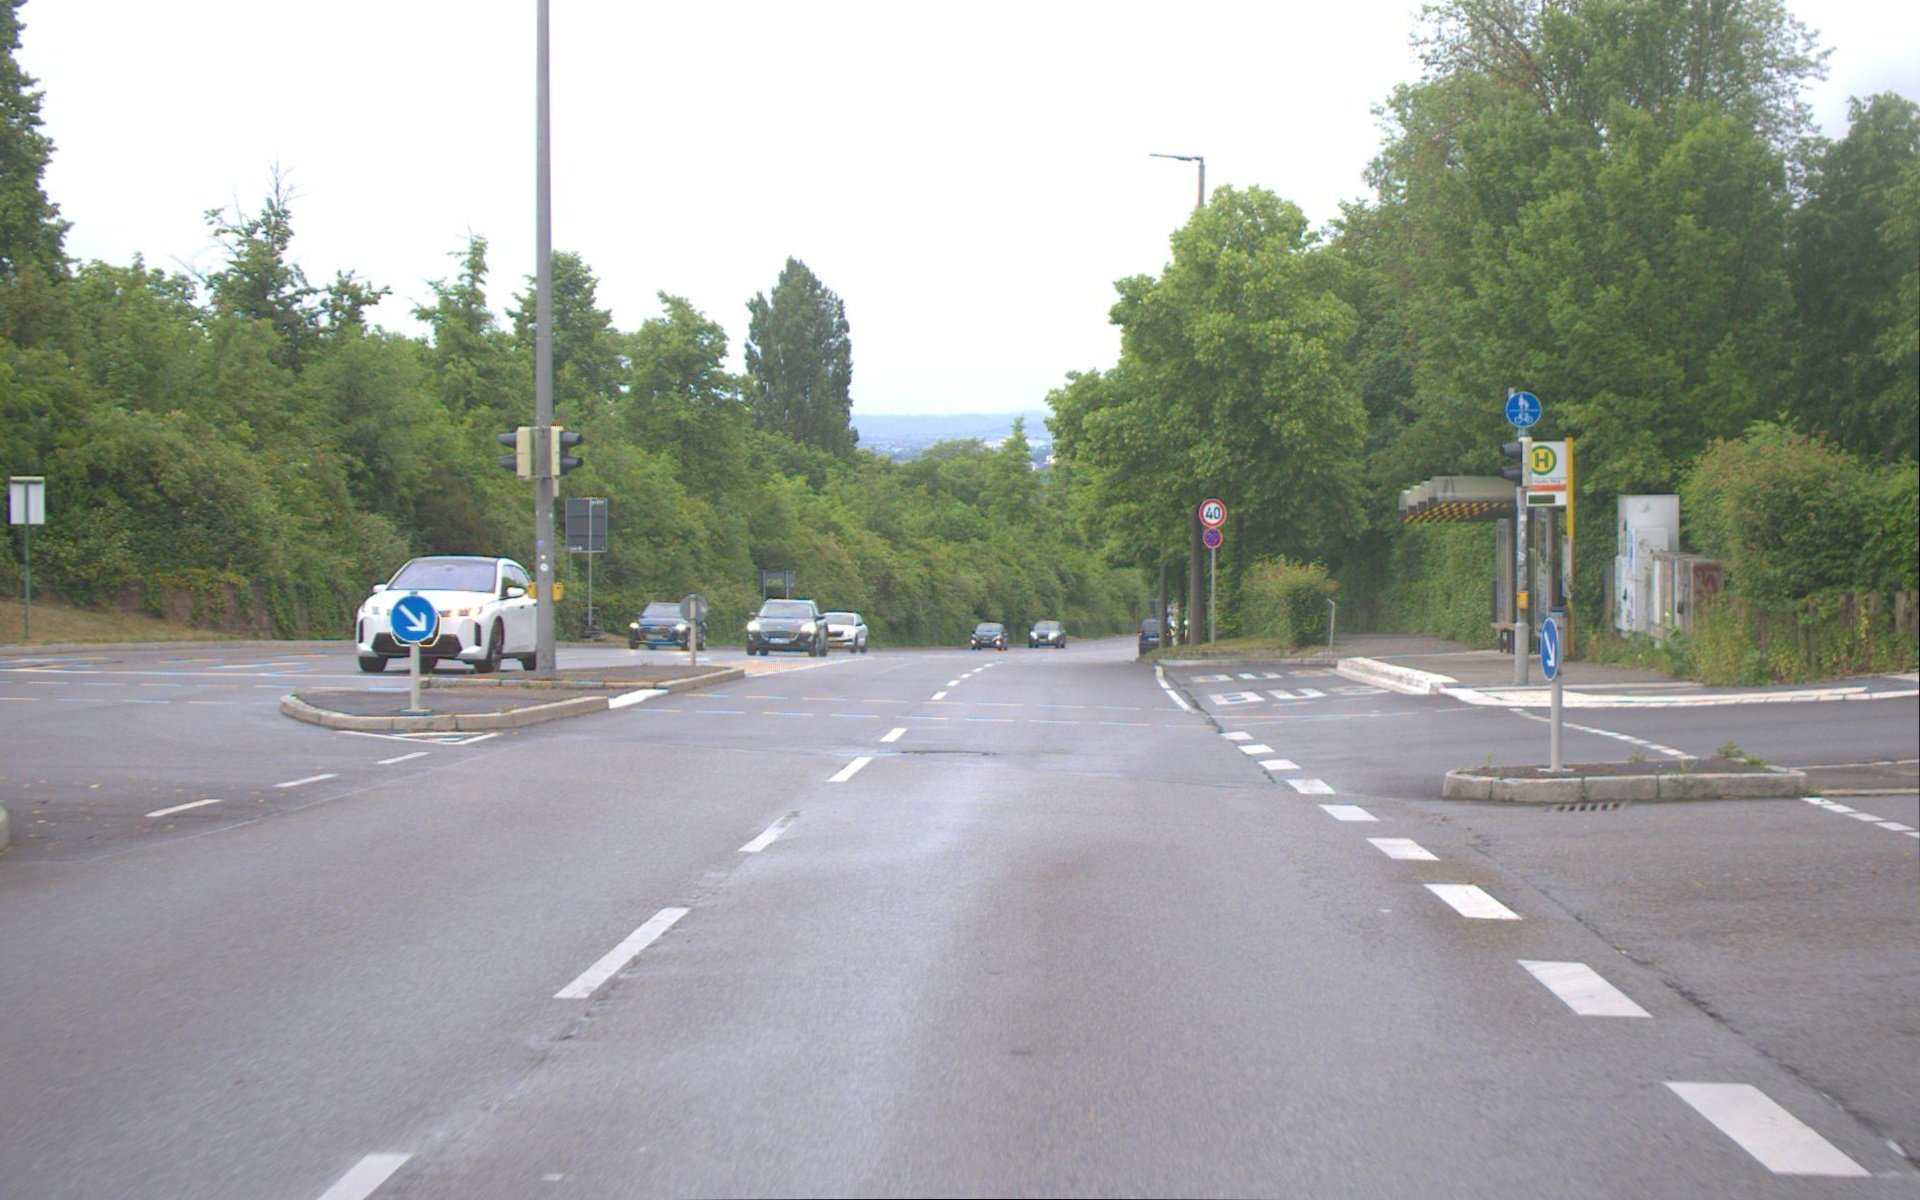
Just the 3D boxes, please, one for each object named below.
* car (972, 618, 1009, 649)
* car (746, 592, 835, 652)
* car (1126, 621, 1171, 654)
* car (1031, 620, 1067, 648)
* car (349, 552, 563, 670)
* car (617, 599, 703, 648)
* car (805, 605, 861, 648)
[{"bbox_3d":[1.645,1.816,185.105,1.725,1.560,3.892,3,0,3],"label":"car"},{"bbox_3d":[-4.339,0.567,88.536,1.778,1.467,4.644,1,0,3],"label":"car"},{"bbox_3d":[9.735,1.935,177.561,1.945,1.585,3.926,1,1,9],"label":"car"},{"bbox_3d":[5.405,2.060,207.828,1.865,1.584,3.892,3,-1,5],"label":"car"},{"bbox_3d":[-7.334,0.153,50.519,1.945,1.630,5.004,1,0,6],"label":"car"},{"bbox_3d":[-8.990,0.692,103.230,1.820,1.433,4.453,1,0,5],"label":"car"},{"bbox_3d":[-4.950,1.019,134.654,1.724,1.585,3.999,1,1,5],"label":"car"}]
